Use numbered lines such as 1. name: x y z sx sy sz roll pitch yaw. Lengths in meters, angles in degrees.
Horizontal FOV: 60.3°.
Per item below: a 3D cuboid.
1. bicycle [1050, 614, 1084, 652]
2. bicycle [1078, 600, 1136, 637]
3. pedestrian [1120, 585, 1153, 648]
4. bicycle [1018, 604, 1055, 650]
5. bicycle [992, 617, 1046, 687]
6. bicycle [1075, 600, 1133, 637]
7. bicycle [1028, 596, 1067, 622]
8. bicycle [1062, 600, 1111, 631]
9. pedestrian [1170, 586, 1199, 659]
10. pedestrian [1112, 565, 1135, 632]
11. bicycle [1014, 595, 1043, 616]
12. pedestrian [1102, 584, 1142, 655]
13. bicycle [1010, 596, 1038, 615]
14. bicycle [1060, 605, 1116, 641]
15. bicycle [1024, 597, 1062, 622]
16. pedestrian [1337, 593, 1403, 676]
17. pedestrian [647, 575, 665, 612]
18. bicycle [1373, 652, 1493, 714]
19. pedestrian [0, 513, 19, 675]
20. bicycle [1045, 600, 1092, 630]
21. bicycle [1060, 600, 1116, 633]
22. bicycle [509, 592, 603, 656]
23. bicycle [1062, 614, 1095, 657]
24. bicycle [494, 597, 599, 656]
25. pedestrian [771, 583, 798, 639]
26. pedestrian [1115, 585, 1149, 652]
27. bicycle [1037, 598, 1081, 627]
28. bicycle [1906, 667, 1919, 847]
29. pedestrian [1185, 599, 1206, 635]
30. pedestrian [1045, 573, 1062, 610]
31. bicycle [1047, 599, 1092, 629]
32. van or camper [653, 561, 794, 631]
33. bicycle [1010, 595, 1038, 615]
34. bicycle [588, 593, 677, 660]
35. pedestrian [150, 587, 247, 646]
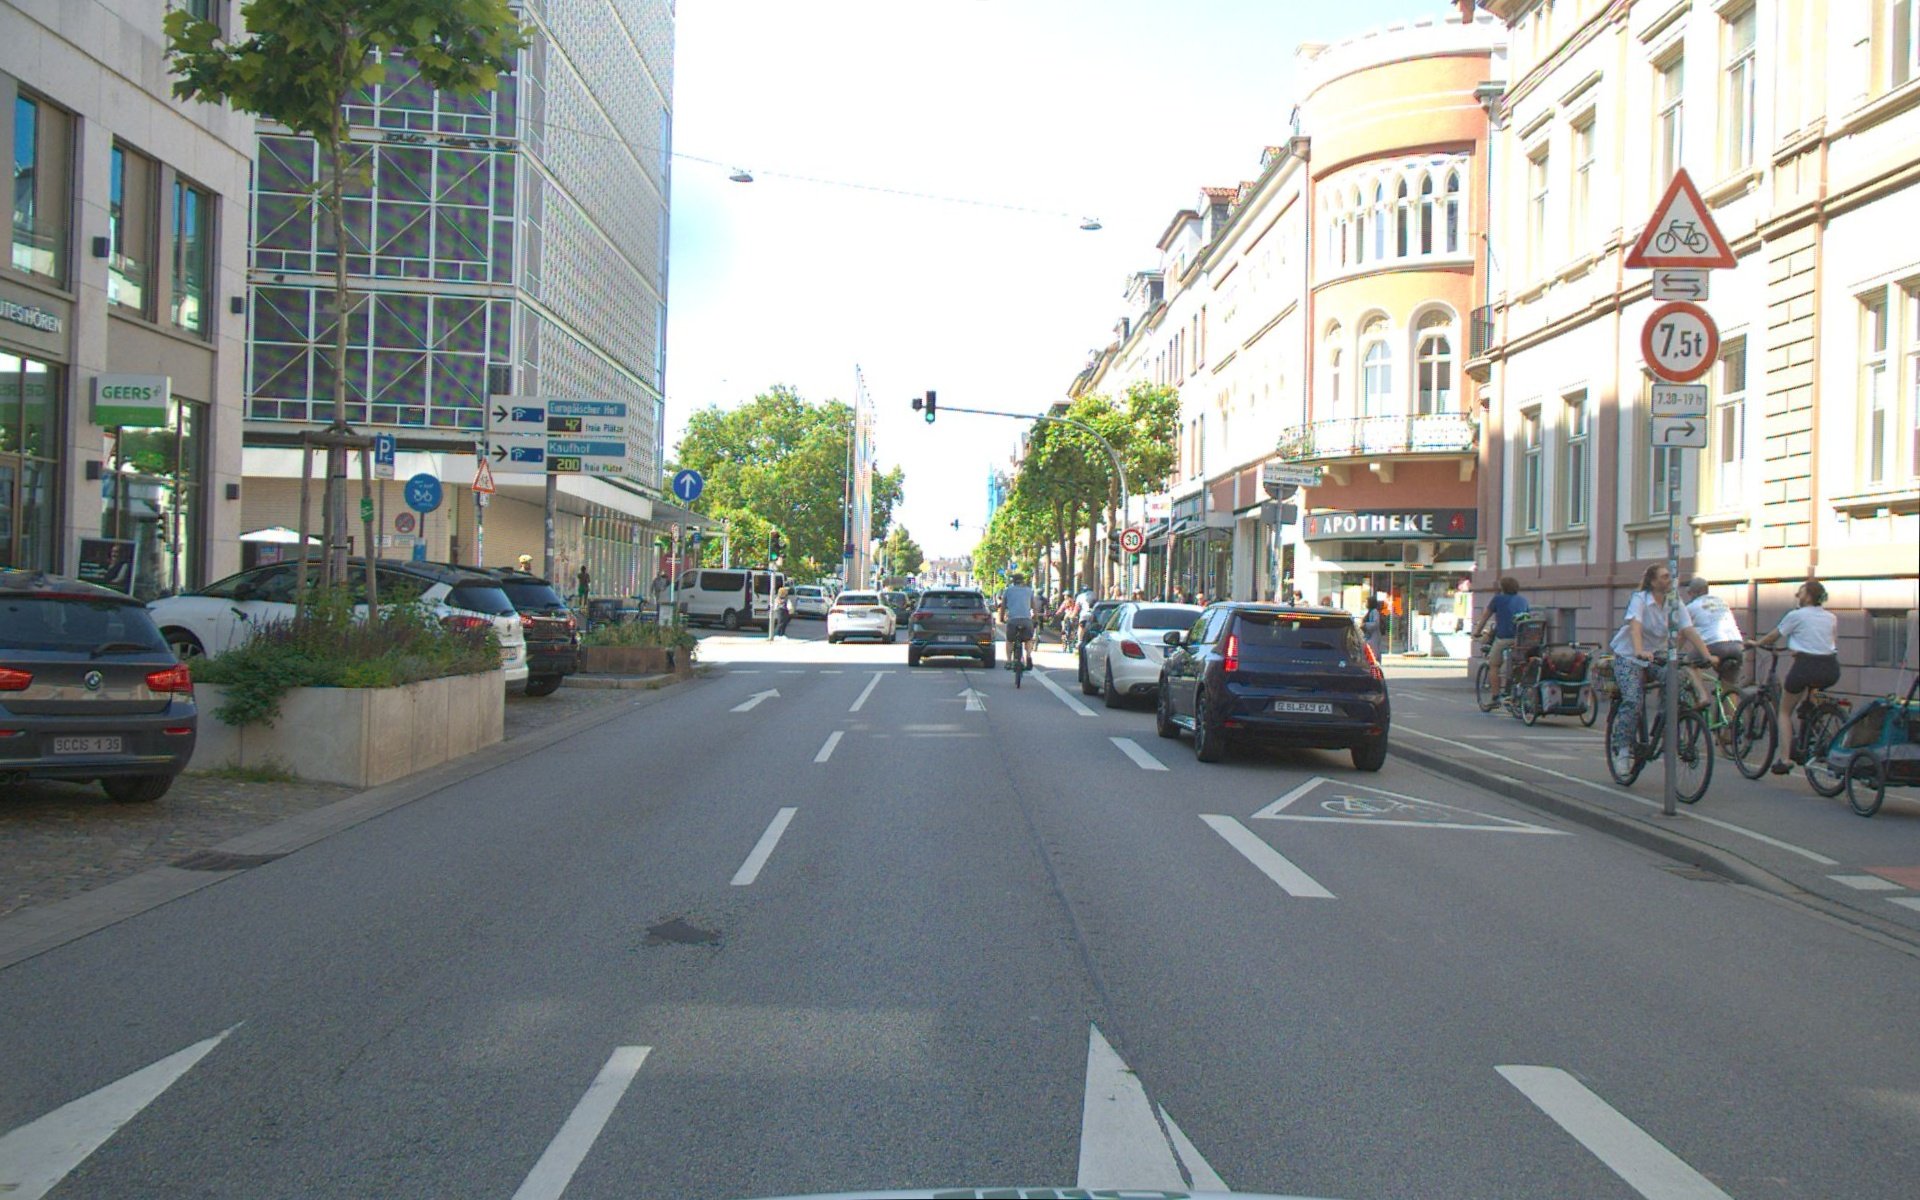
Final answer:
1. bicycle: 2.793 0.869 43.446 0.588 0.942 2.085 3 -1 -4
2. bicycle: 4.714 0.591 53.011 1.801 1.146 0.667 1 -1 6
3. pedestrian: 4.910 0.464 46.000 0.771 1.720 0.641 2 0 -3
4. bicycle: 2.003 0.688 43.562 0.684 1.146 2.080 3 0 -4
5. bicycle: 0.931 0.821 26.676 0.758 1.023 2.329 1 0 0
6. bicycle: 4.657 0.589 53.592 1.802 1.146 0.666 1 -1 1
7. bicycle: 4.272 0.449 80.718 1.801 1.218 0.674 2 0 7
8. bicycle: 4.752 0.579 62.346 1.802 1.147 0.448 1 -1 2
9. pedestrian: 5.944 0.593 43.747 0.625 1.875 0.615 3 -1 11
10. pedestrian: 4.475 -0.044 45.307 0.443 1.826 0.607 3 0 -3
11. bicycle: 4.137 0.346 100.173 1.692 1.238 0.477 2 0 2
12. pedestrian: 4.192 0.510 42.916 0.627 1.737 0.789 -9 -2 -5
13. bicycle: 4.171 0.355 107.845 1.805 1.222 0.608 2 0 2
14. bicycle: 4.242 0.762 54.723 1.802 1.146 0.666 1 -1 1
15. bicycle: 4.101 0.484 81.782 1.801 1.146 0.498 3 0 10
16. pedestrian: 8.269 0.697 33.388 0.886 1.640 0.971 0 -3 -19
17. pedestrian: -12.917 -0.278 70.259 0.665 1.586 0.640 1 0 -6
18. bicycle: 10.589 1.859 37.104 2.511 1.146 0.628 4 -5 16
19. pedestrian: -11.677 -0.101 19.224 0.821 1.911 0.844 5 0 0
20. bicycle: 4.439 0.620 67.741 1.807 1.112 0.563 3 0 -11
21. bicycle: 4.674 0.593 60.371 1.943 1.147 0.762 1 -1 12
22. bicycle: -7.850 0.456 32.063 2.023 1.189 0.603 1 -1 36
23. bicycle: 2.926 0.857 40.847 0.617 0.997 2.088 1 0 -1
24. bicycle: -8.614 0.549 34.508 1.944 1.146 0.800 1 1 6
25. pedestrian: -5.149 0.329 48.470 0.628 1.586 0.679 3 0 -12
26. pedestrian: 4.847 0.512 46.651 0.771 1.826 0.641 3 0 -3
27. bicycle: 4.340 0.544 72.694 1.806 1.146 0.496 4 1 -9
28. bicycle: 6.518 1.015 9.771 0.720 1.146 2.034 0 0 1
29. pedestrian: 8.511 0.605 59.727 0.667 1.275 0.531 0 0 -3
30. pedestrian: 4.486 -0.399 79.742 0.626 1.718 0.843 4 1 -3
31. bicycle: 4.287 0.561 64.670 1.826 1.147 0.586 2 -1 -37
32. van or camper: -7.880 -0.140 54.899 4.573 2.048 1.990 4 1 39
33. bicycle: 4.139 0.349 107.339 1.805 1.222 0.545 2 0 2
34. bicycle: -6.280 0.500 31.621 2.030 1.193 0.601 2 -1 45
35. pedestrian: -12.720 0.274 27.646 1.224 0.941 0.841 1 0 -2
